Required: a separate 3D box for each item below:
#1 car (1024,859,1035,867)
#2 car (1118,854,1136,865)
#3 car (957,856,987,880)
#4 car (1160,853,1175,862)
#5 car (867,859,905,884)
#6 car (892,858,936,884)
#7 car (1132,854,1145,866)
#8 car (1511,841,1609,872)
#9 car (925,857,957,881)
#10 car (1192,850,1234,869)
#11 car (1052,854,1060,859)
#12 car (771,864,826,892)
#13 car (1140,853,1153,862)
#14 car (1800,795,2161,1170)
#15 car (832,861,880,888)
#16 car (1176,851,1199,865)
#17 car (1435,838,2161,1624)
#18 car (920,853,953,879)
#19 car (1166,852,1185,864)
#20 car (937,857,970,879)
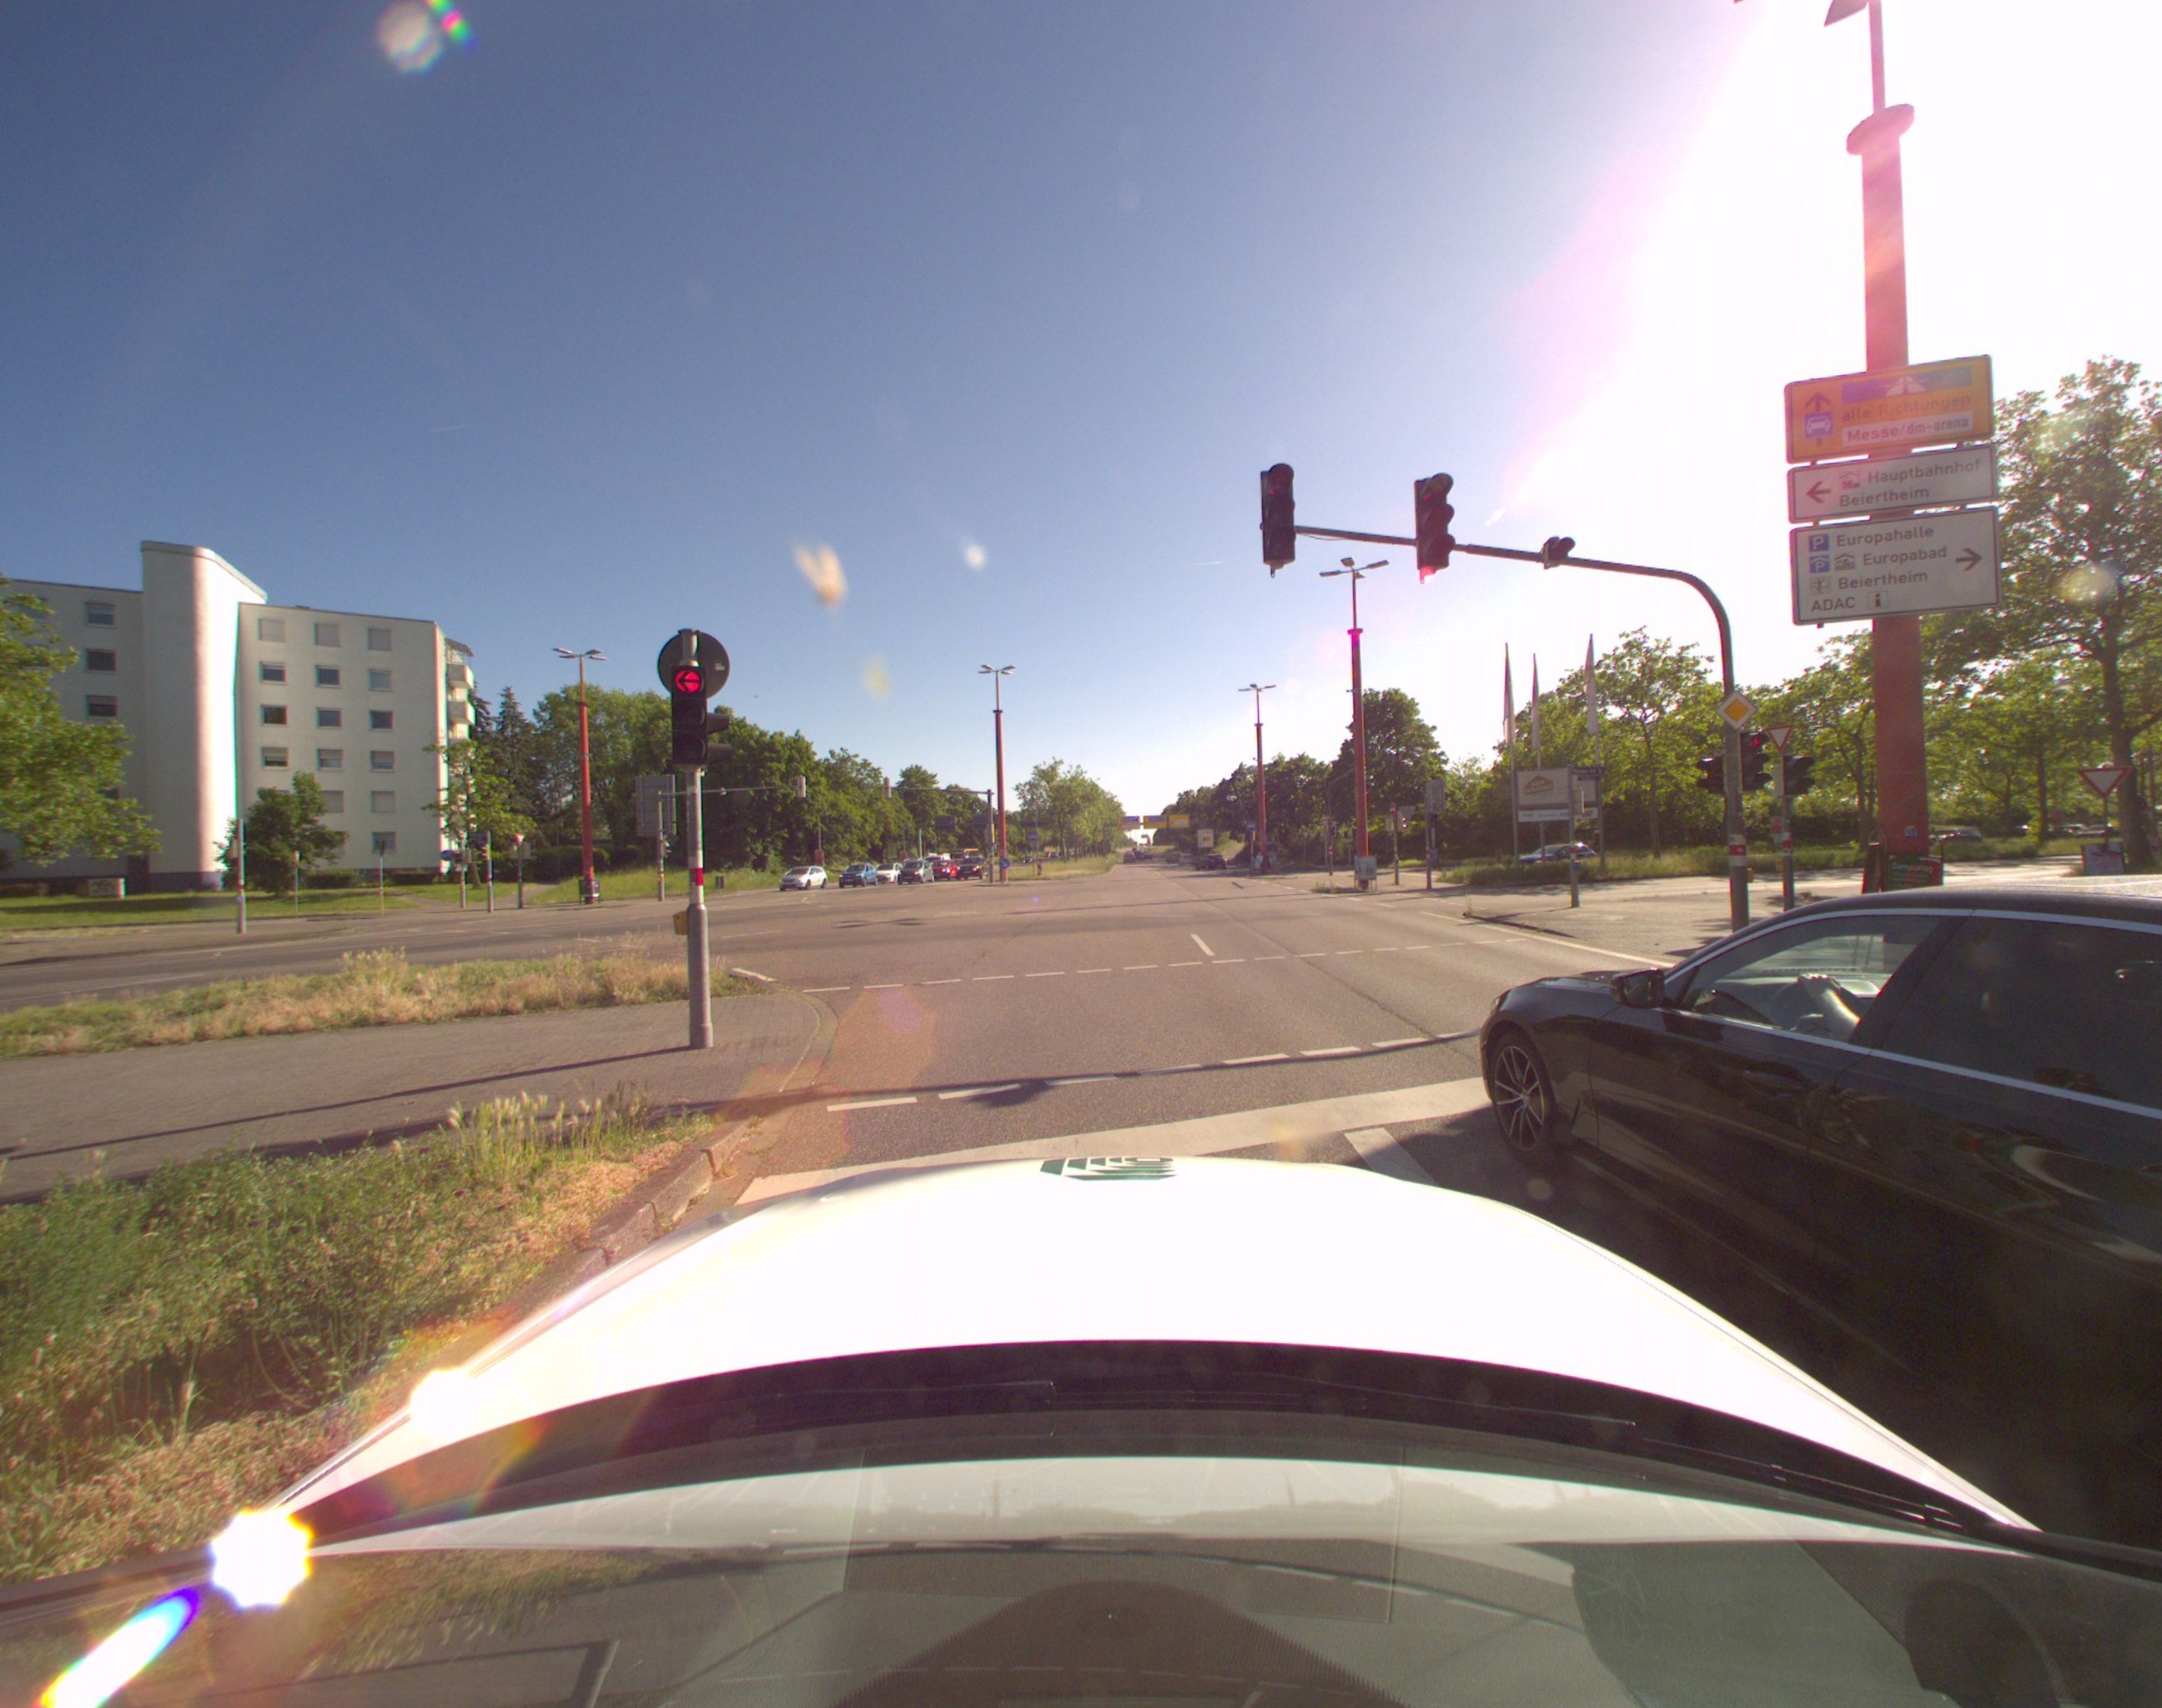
[{"bbox_3d":[-10.464,1.829,166.657,1.987,1.573,4.120,-2,0,0],"label":"car"},{"bbox_3d":[6.989,0.846,123.994,2.241,1.573,4.276,-2,0,-3],"label":"car"},{"bbox_3d":[-7.554,0.941,56.505,1.874,1.573,4.112,-2,0,-6],"label":"car"},{"bbox_3d":[14.517,0.645,137.360,1.948,1.442,4.277,-2,0,-2],"label":"car"},{"bbox_3d":[-13.727,1.218,57.539,1.991,1.573,4.112,-3,0,-6],"label":"car"},{"bbox_3d":[-10.721,1.048,52.596,1.988,1.573,4.119,-2,0,-1],"label":"car"},{"bbox_3d":[10.030,1.008,142.905,1.986,2.013,4.002,-2,0,2],"label":"car"},{"bbox_3d":[24.394,0.121,41.481,4.276,1.428,1.874,-2,0,-16],"label":"car"},{"bbox_3d":[-10.091,1.048,58.887,1.991,1.573,4.112,-2,0,-6],"label":"car"},{"bbox_3d":[11.679,0.478,72.147,2.162,1.573,4.260,-2,0,-14],"label":"car"},{"bbox_3d":[-6.707,0.675,218.354,1.877,1.454,3.658,-2,0,2],"label":"car"},{"bbox_3d":[-17.682,1.469,51.197,1.987,1.573,4.120,-2,0,0],"label":"car"},{"bbox_3d":[12.609,0.676,156.887,2.153,1.573,4.277,-2,0,-2],"label":"car"},{"bbox_3d":[5.808,0.563,3.276,1.959,1.686,4.479,-1,0,2],"label":"car"},{"bbox_3d":[-14.225,1.286,51.657,1.989,1.573,4.116,-2,0,-3],"label":"car"},{"bbox_3d":[13.249,0.490,101.332,2.153,1.573,4.277,-2,0,-2],"label":"car"},{"bbox_3d":[2.961,0.669,2.388,1.986,1.394,4.479,-2,0,2],"label":"car"},{"bbox_3d":[-12.722,1.055,72.002,2.055,2.193,4.377,-2,0,0],"label":"car"},{"bbox_3d":[13.368,0.516,115.333,2.153,1.573,4.277,-2,0,-2],"label":"car"},{"bbox_3d":[-10.053,1.095,64.669,1.988,1.573,4.118,-2,0,-1],"label":"car"}]
